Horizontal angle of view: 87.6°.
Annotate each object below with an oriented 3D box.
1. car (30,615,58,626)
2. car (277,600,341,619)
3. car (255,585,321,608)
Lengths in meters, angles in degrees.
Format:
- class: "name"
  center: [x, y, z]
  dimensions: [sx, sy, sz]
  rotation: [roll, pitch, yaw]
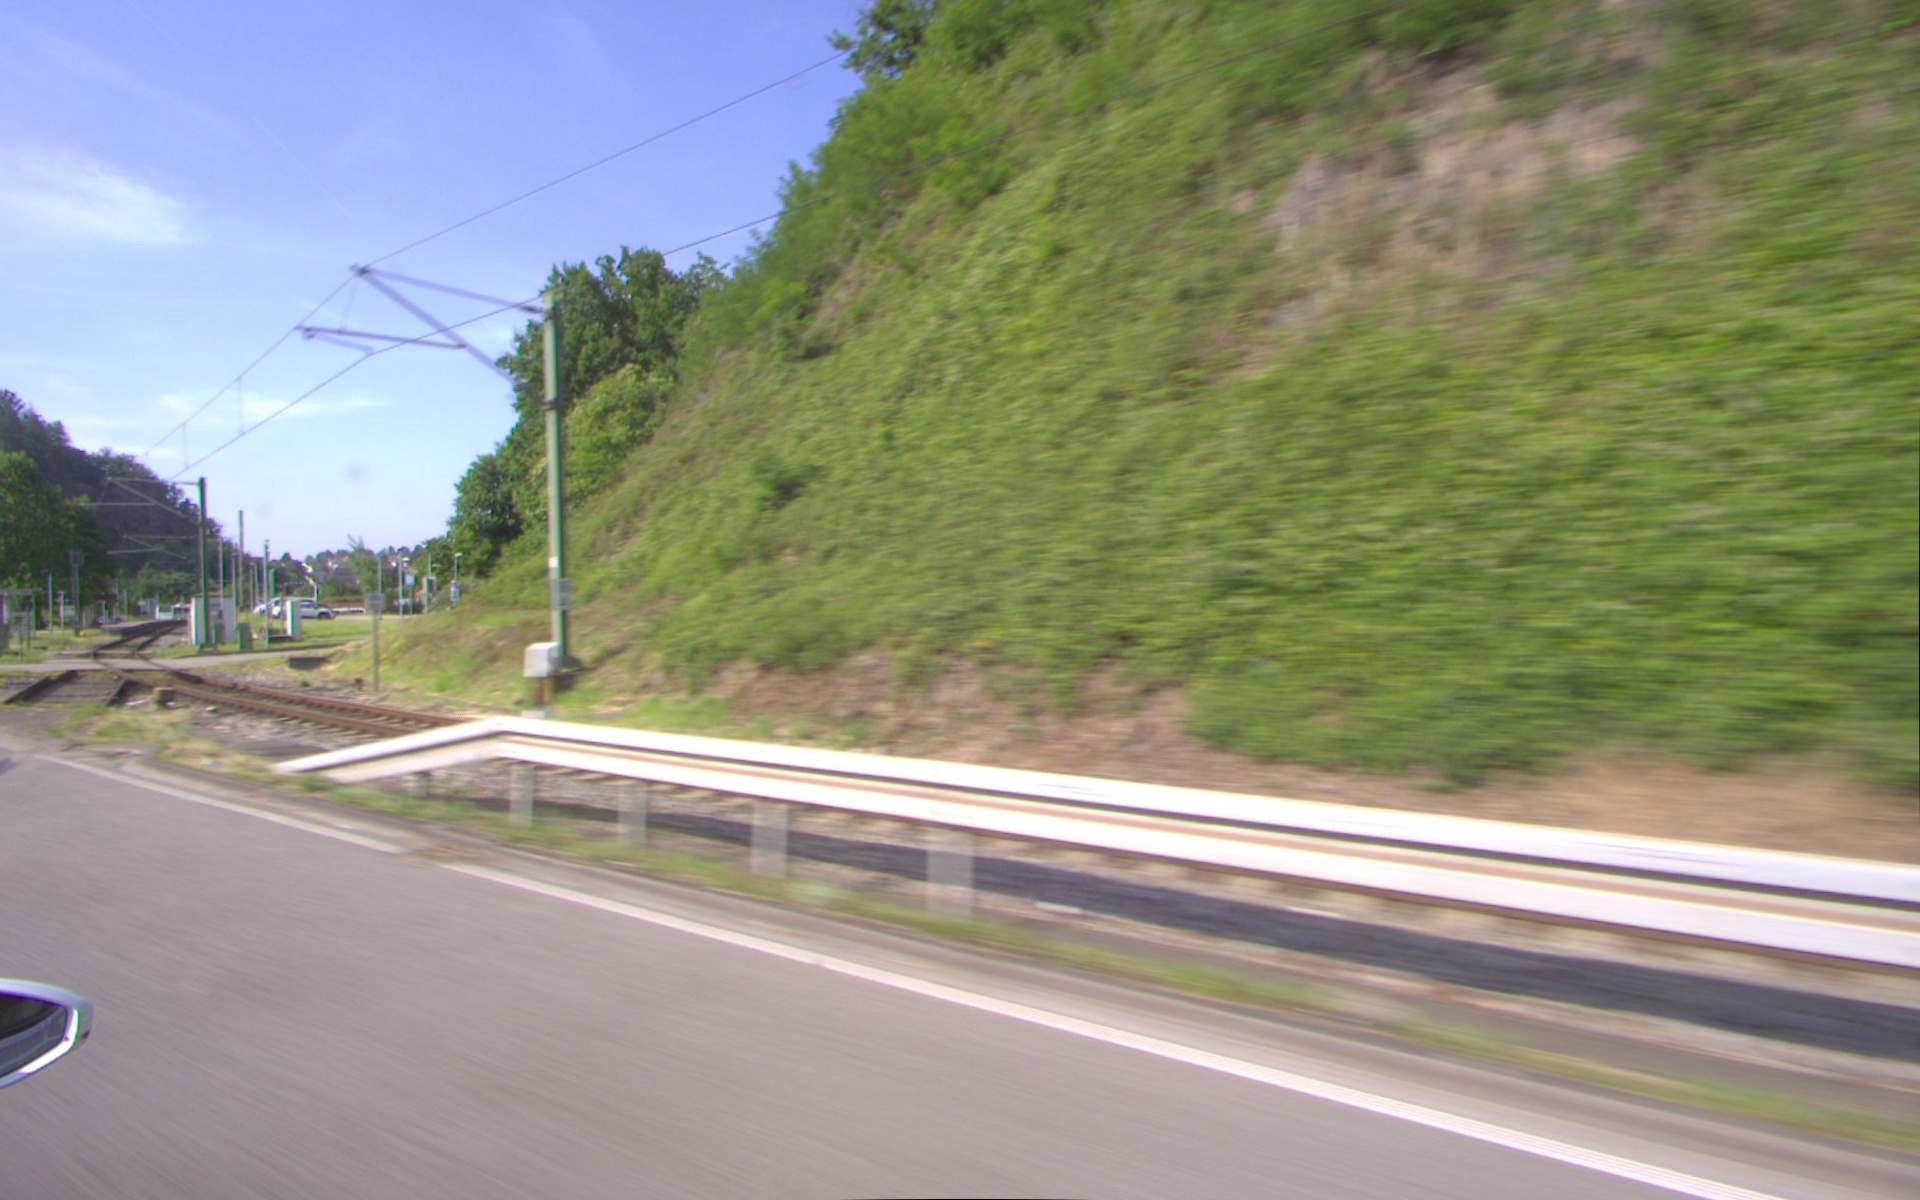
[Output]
- class: "car"
  center: [-118.549, 2.644, 129.614]
  dimensions: [1.788, 1.427, 3.754]
  rotation: [-1, 0, -29]
- class: "car"
  center: [-51.222, 0.760, 78.810]
  dimensions: [4.061, 1.416, 1.796]
  rotation: [1, -1, -38]
- class: "car"
  center: [-61.470, -0.267, 91.630]
  dimensions: [4.908, 1.969, 2.125]
  rotation: [1, -1, -38]
